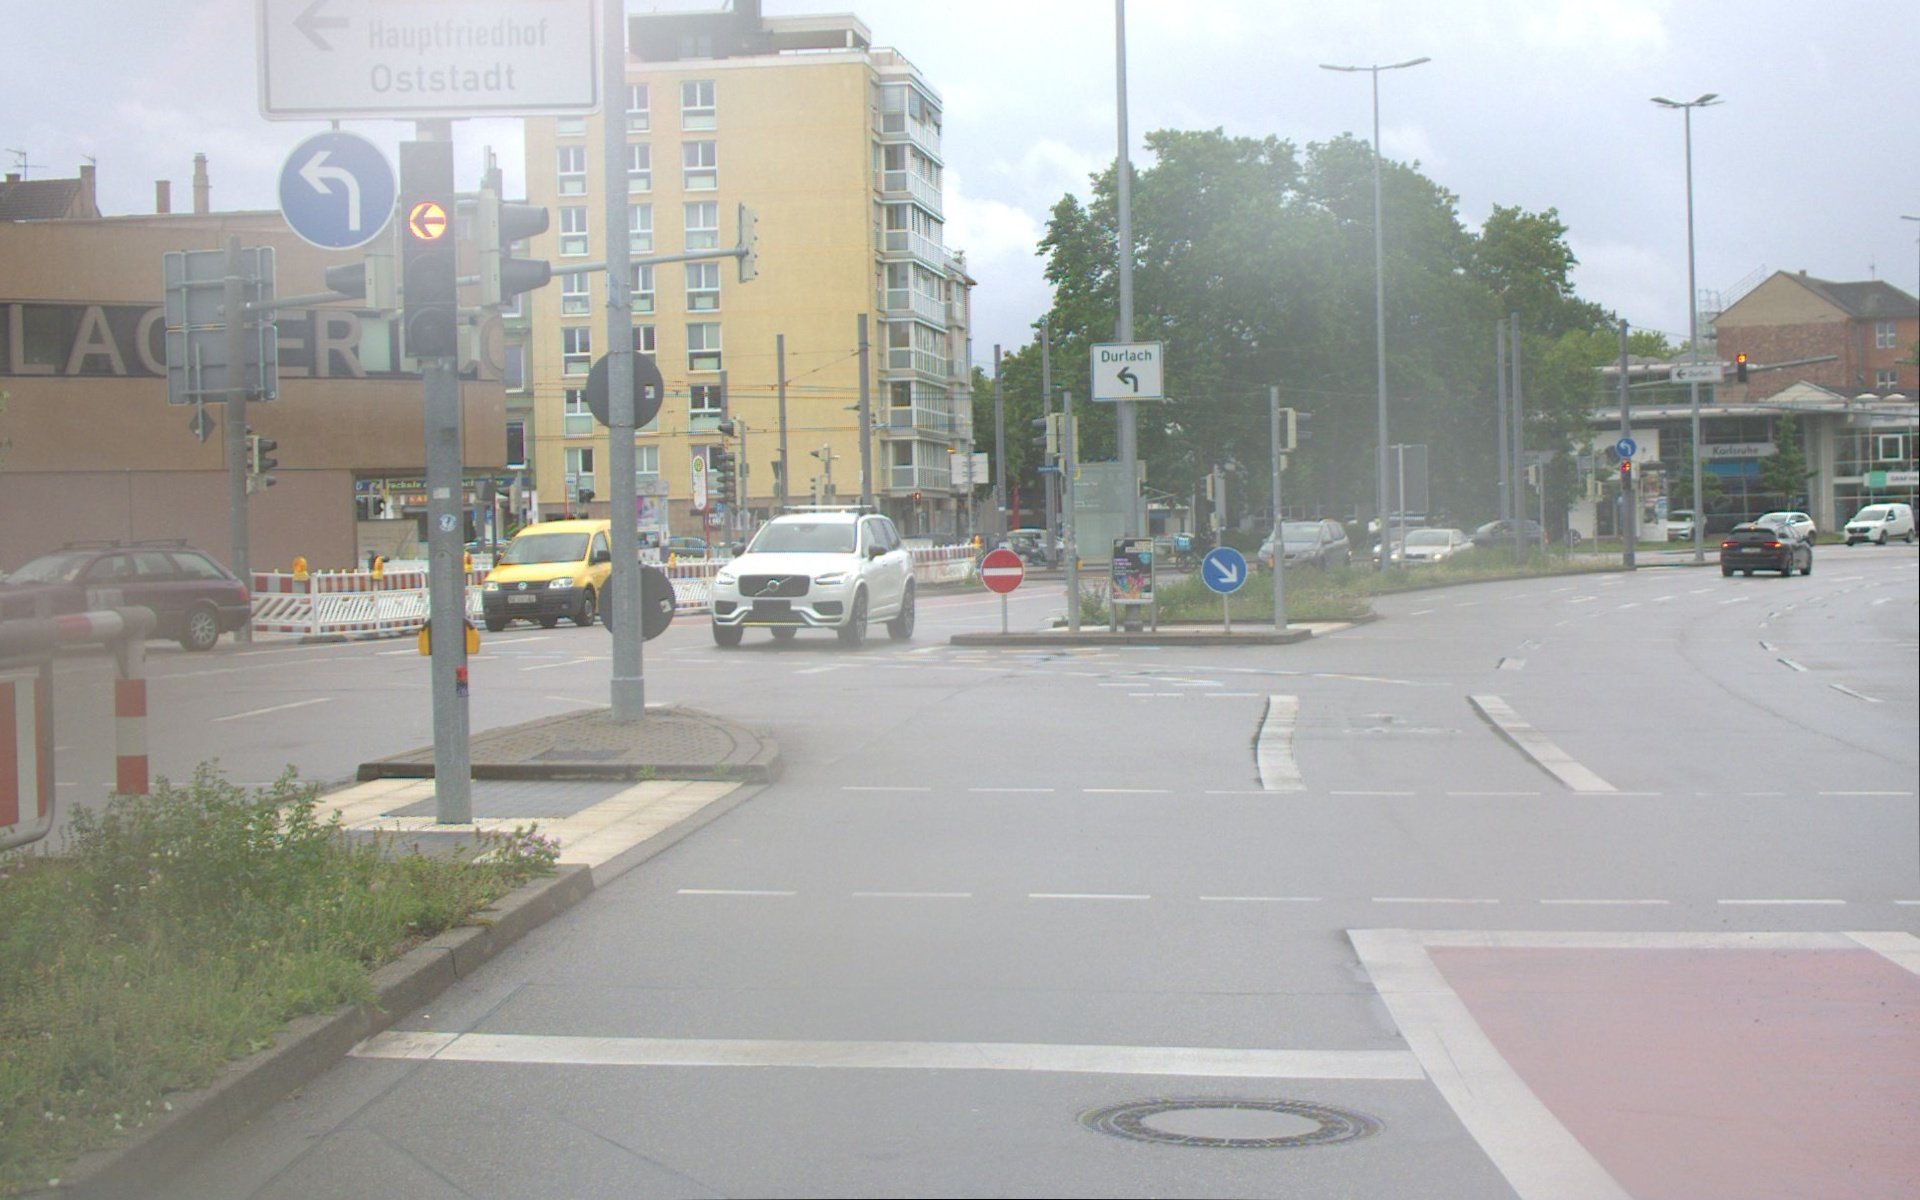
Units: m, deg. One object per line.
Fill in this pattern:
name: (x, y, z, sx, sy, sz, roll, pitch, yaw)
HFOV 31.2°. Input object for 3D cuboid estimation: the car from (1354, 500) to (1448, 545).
car: (13.939, -2.454, 108.535, 1.774, 1.371, 4.115, 1, 2, 24)

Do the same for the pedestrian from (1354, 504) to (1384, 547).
pedestrian: (17.613, -3.215, 147.959, 1.092, 1.807, 1.119, -1, 1, -2)

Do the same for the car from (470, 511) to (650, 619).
car: (-6.636, -0.614, 57.495, 1.706, 1.700, 4.151, -1, 1, 12)

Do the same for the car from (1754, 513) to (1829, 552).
car: (37.115, -3.032, 153.390, 1.793, 1.637, 4.388, 0, 2, 34)

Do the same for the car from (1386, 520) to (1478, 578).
car: (13.580, -1.478, 98.739, 1.695, 1.410, 4.180, -1, 4, 20)

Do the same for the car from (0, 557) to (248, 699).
car: (-11.672, 0.339, 45.351, 1.709, 1.700, 4.452, 0, 2, 35)

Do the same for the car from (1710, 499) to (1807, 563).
car: (21.269, -1.849, 91.492, 1.792, 1.637, 4.154, -1, 2, 23)

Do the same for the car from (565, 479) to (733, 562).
car: (-13.278, -3.410, 147.075, 6.742, 3.368, 2.809, -1, 1, 4)

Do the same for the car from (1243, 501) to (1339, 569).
car: (9.375, -1.859, 97.103, 1.695, 1.684, 4.180, -1, 3, 19)

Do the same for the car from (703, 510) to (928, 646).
car: (-1.877, -0.345, 46.413, 1.827, 1.676, 5.163, 1, 2, 12)

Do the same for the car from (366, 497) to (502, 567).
car: (-22.625, -2.925, 148.042, 5.351, 2.877, 2.339, -1, 1, 4)
